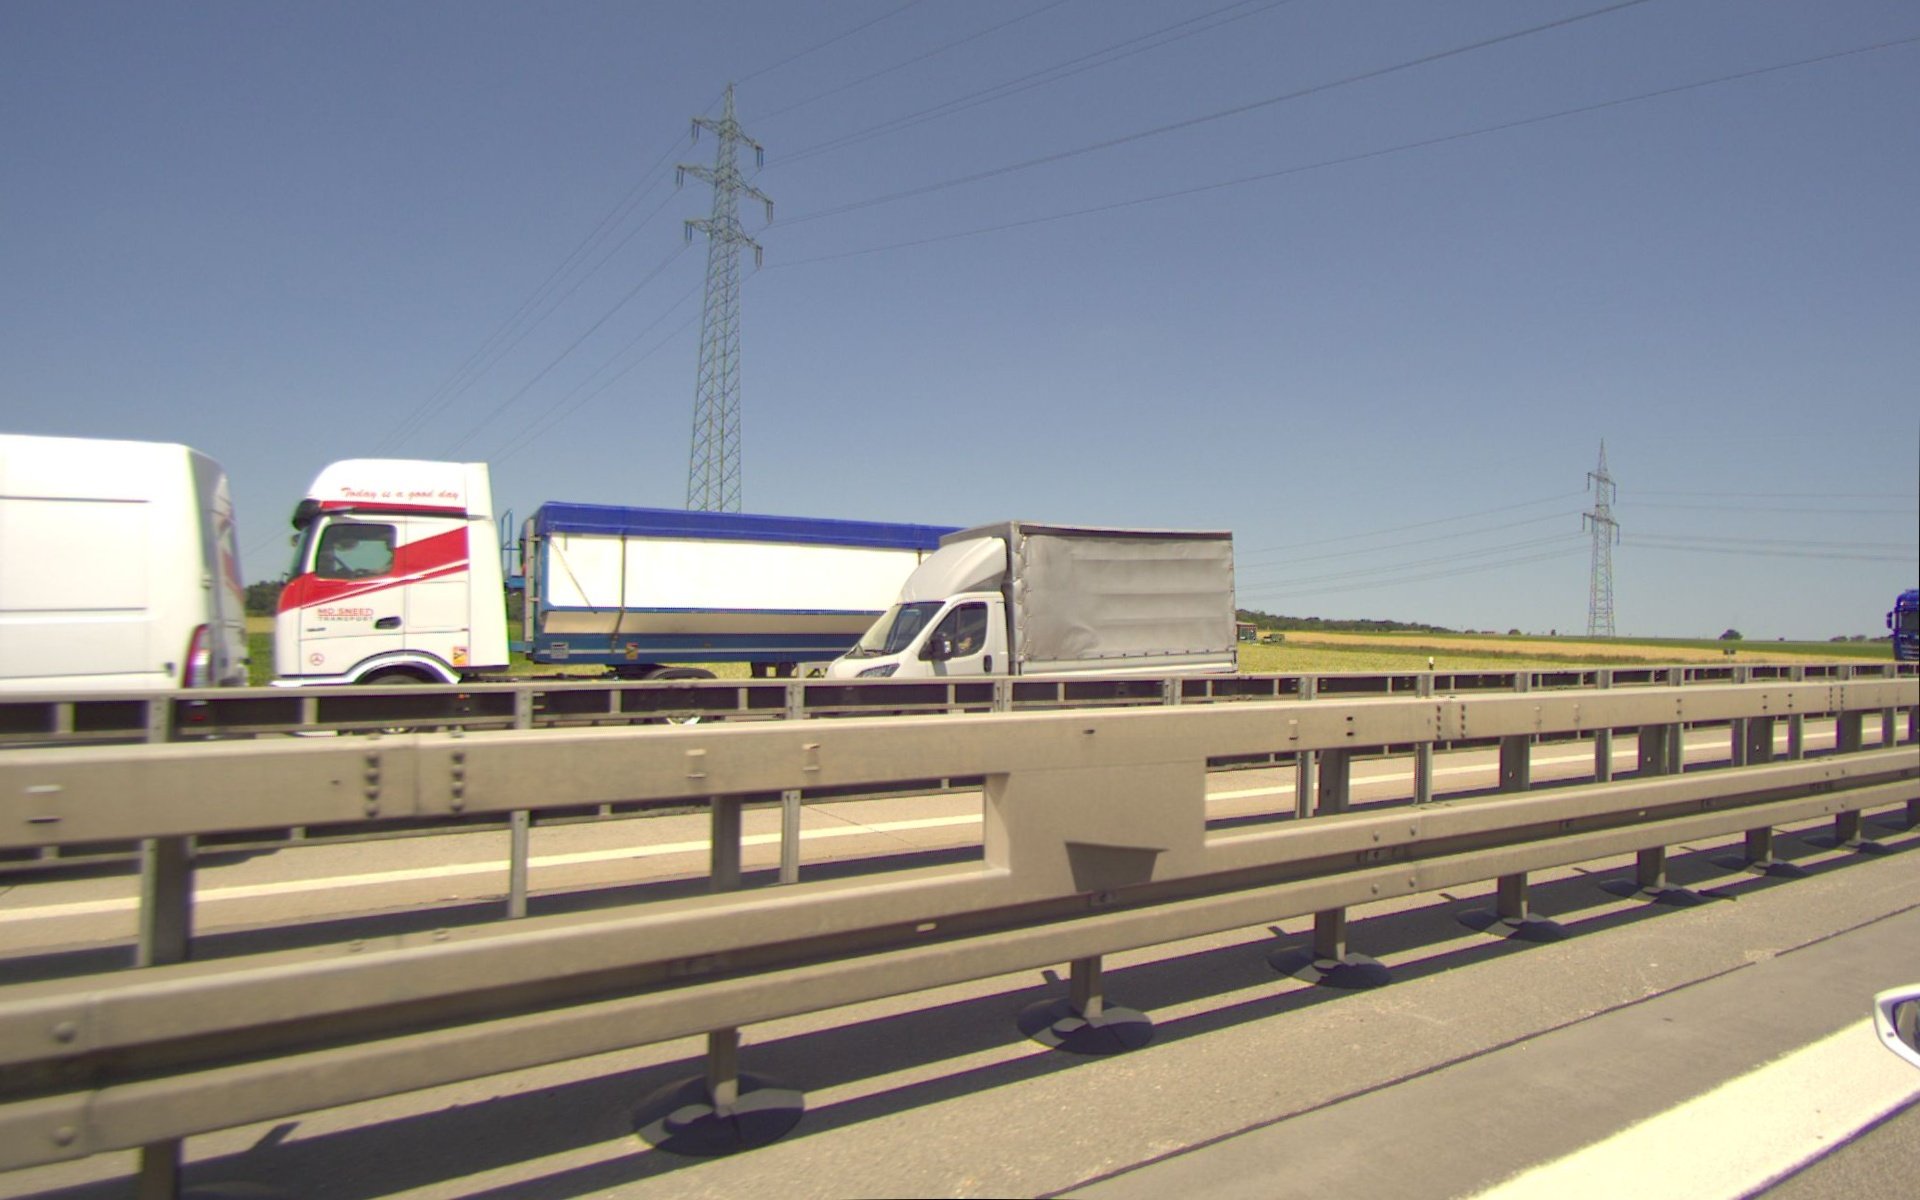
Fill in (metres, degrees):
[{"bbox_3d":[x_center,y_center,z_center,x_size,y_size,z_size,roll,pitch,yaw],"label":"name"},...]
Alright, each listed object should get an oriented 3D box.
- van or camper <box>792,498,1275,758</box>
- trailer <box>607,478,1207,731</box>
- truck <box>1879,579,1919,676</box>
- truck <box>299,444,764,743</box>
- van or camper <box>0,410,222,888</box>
[{"bbox_3d":[1.325,0.468,15.275,7.314,3.206,2.330,2,-2,-30],"label":"van or camper"},{"bbox_3d":[-0.489,0.233,18.840,11.227,3.741,2.694,2,0,-31],"label":"trailer"},{"bbox_3d":[44.123,1.298,44.604,7.444,4.144,2.807,2,0,-31],"label":"truck"},{"bbox_3d":[-6.357,0.000,15.312,5.988,3.739,2.704,2,0,-31],"label":"truck"},{"bbox_3d":[-7.765,0.187,5.213,6.050,2.609,2.113,2,0,-30],"label":"van or camper"}]
